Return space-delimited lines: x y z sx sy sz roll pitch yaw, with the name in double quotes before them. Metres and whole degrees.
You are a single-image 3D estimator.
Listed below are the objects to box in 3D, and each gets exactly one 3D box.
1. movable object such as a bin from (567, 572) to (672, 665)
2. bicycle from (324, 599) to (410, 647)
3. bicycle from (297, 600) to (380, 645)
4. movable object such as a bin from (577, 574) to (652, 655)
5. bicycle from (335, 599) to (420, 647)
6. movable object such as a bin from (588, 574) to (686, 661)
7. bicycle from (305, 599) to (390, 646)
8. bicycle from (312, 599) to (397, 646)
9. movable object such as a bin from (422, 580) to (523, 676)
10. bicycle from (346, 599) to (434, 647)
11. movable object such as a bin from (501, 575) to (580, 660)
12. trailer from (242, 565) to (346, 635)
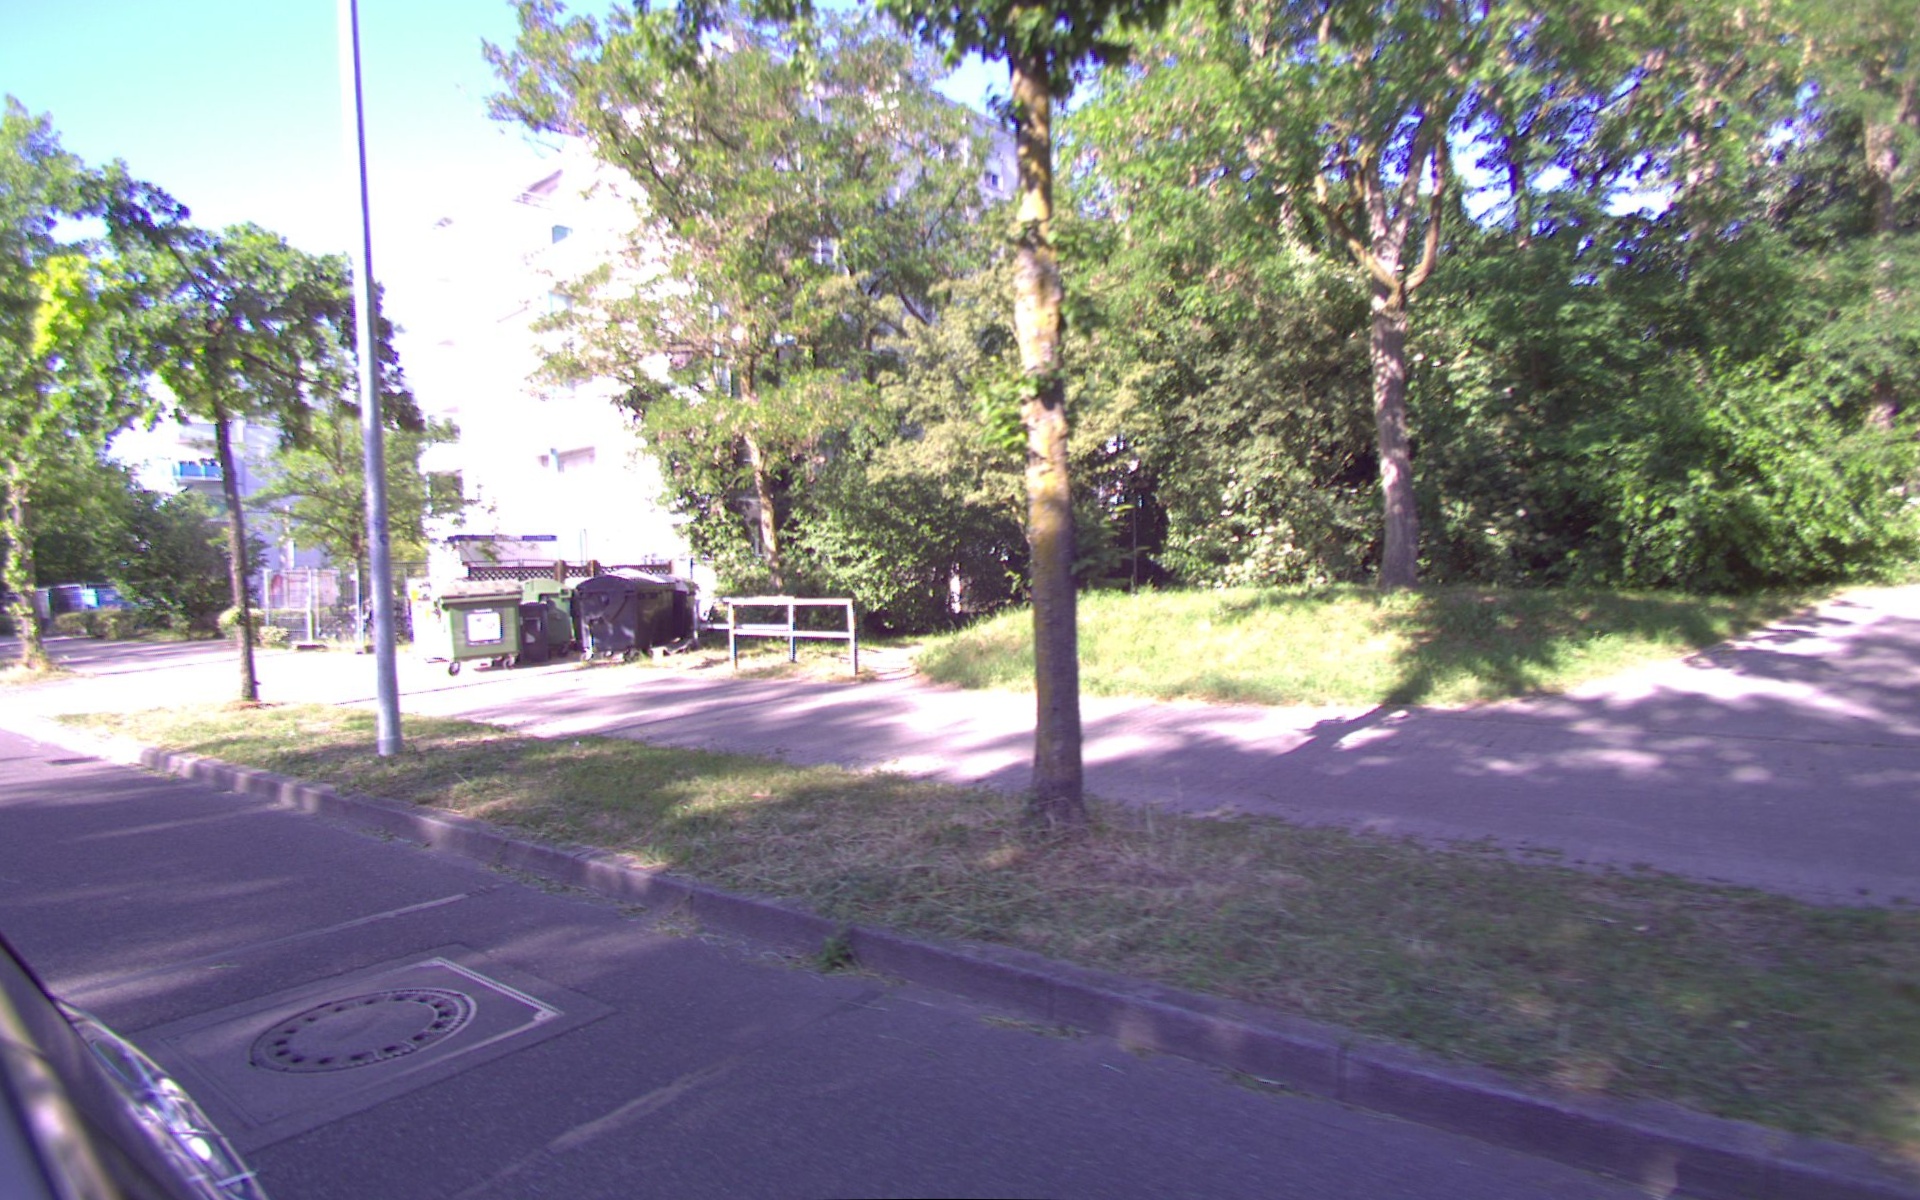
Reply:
"movable object such as a bin" -5.582 0.289 16.662 1.257 1.446 1.143 -2 1 5
"bicycle" -14.278 0.530 24.420 0.398 1.034 1.849 0 2 26
"bicycle" -15.712 0.554 25.645 0.398 1.034 1.859 0 2 26
"movable object such as a bin" -6.554 0.262 19.177 1.141 1.446 1.268 -2 1 -27
"bicycle" -13.905 0.523 24.213 0.398 1.034 1.828 0 2 26
"movable object such as a bin" -5.656 0.287 17.787 1.257 1.446 1.143 -2 1 5
"bicycle" -15.064 0.534 24.948 0.398 1.034 1.845 0 2 26
"bicycle" -14.712 0.534 24.631 0.398 1.034 1.828 0 2 26
"movable object such as a bin" -7.898 0.424 16.385 1.252 1.446 1.184 -2 1 -35
"bicycle" -13.484 0.520 23.997 0.398 1.034 1.904 0 2 26
"movable object such as a bin" -7.678 0.301 18.528 1.251 1.446 1.330 -2 1 -23
"trailer" -22.840 -0.003 34.665 4.345 2.135 1.844 -1 4 42
